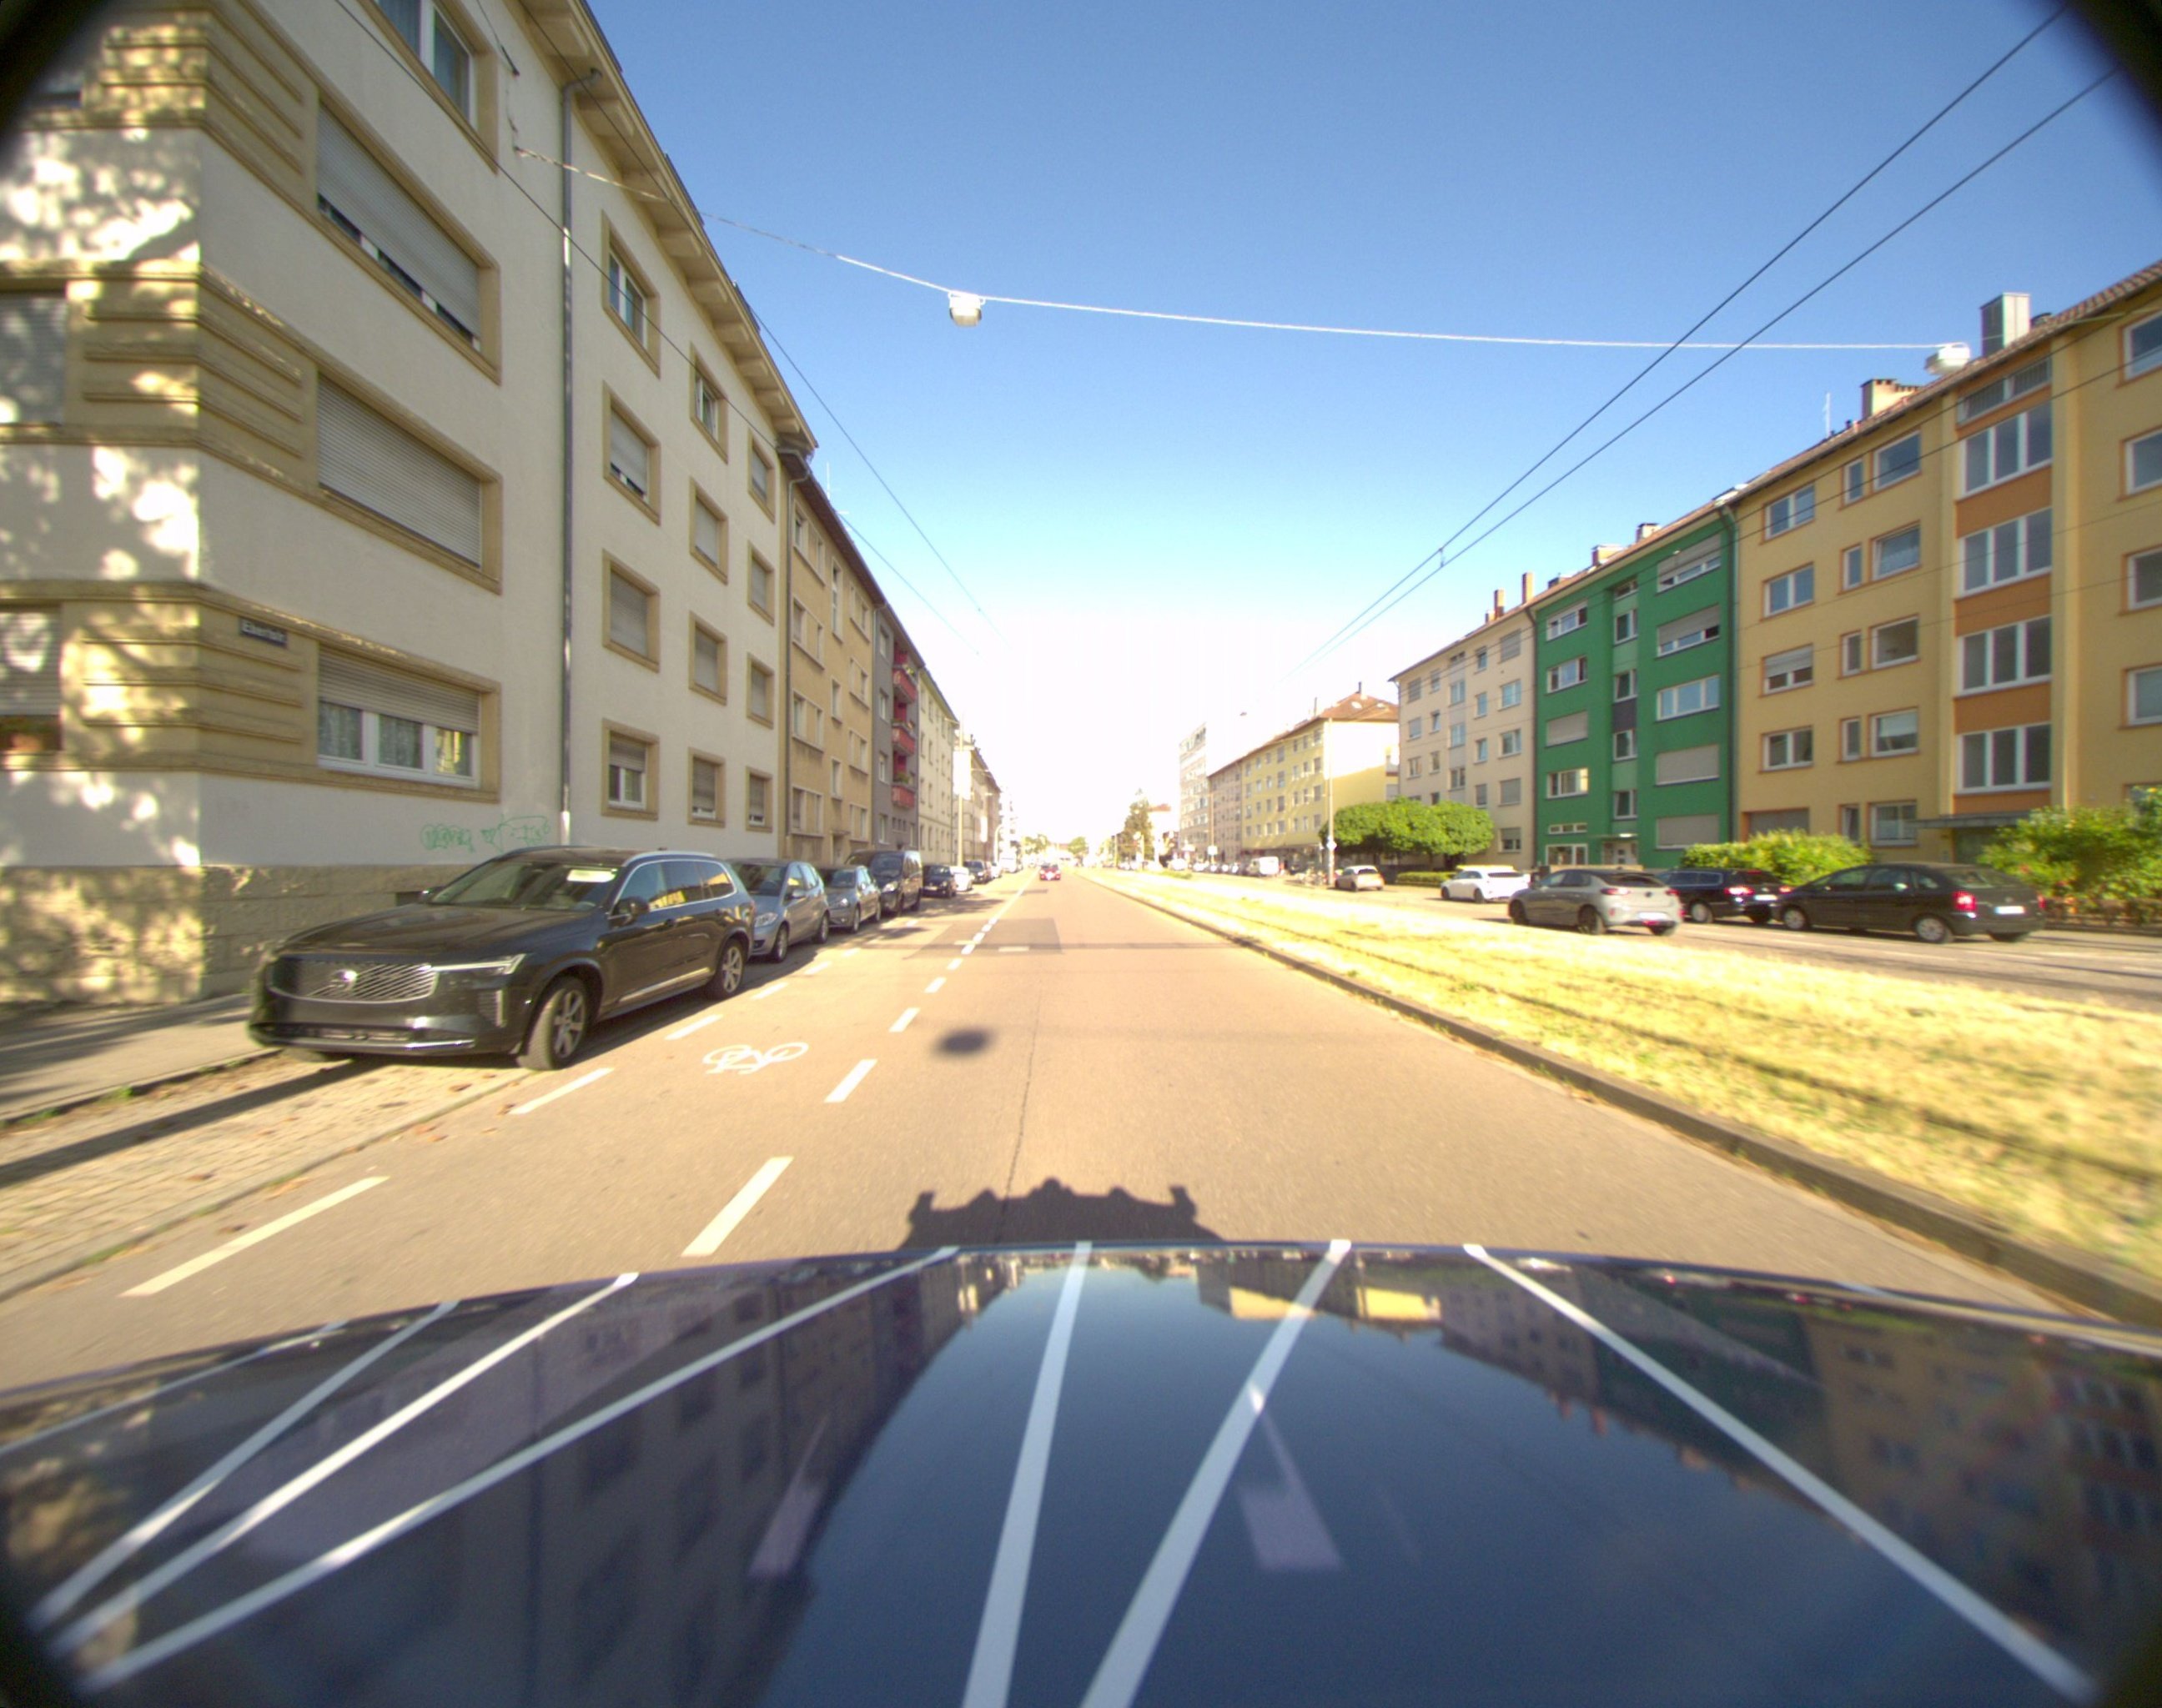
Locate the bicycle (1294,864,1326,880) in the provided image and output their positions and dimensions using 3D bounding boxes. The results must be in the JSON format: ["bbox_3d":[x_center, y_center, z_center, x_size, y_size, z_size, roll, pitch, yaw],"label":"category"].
[{"bbox_3d":[16.437,1.307,54.587,2.052,1.086,0.616,-2,0,3],"label":"bicycle"}]

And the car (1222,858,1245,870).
[{"bbox_3d":[18.504,1.251,92.369,1.788,1.377,3.767,-2,0,-3],"label":"car"}]

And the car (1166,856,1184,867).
[{"bbox_3d":[16.522,1.298,133.746,1.999,1.887,4.668,-2,0,-5],"label":"car"}]

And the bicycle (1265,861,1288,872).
[{"bbox_3d":[19.710,1.258,76.594,2.103,1.099,0.472,-2,0,-2],"label":"bicycle"}]

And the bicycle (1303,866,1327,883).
[{"bbox_3d":[15.602,1.380,50.713,0.511,1.086,1.934,-3,0,-14],"label":"bicycle"}]

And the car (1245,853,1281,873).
[{"bbox_3d":[19.303,0.973,80.825,1.999,1.938,5.498,-2,0,-6],"label":"car"}]

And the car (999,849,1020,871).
[{"bbox_3d":[-8.900,0.763,95.162,2.157,2.680,6.290,2,0,-3],"label":"car"}]

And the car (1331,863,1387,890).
[{"bbox_3d":[16.324,1.273,44.728,1.640,1.433,3.733,-2,0,-5],"label":"car"}]

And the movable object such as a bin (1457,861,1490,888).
[{"bbox_3d":[20.872,1.106,40.438,1.150,1.360,1.039,-2,0,0],"label":"movable object such as a bin"}]

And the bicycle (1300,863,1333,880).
[{"bbox_3d":[16.487,1.249,53.200,2.052,1.086,0.616,-2,0,3],"label":"bicycle"}]

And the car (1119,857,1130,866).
[{"bbox_3d":[8.120,1.356,142.282,1.618,1.549,3.999,2,-1,-3],"label":"car"}]

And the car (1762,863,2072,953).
[{"bbox_3d":[17.615,1.039,16.392,1.999,1.598,4.150,-2,0,-3],"label":"car"}]

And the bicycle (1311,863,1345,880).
[{"bbox_3d":[16.851,1.224,51.845,2.050,1.086,0.616,-3,0,24],"label":"bicycle"}]

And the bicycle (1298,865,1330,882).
[{"bbox_3d":[16.507,1.372,53.886,2.052,1.086,0.616,-2,0,3],"label":"bicycle"}]

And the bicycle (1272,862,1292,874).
[{"bbox_3d":[19.783,1.332,74.664,1.824,1.099,0.390,-2,0,-2],"label":"bicycle"}]

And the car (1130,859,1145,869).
[{"bbox_3d":[9.106,1.614,122.182,1.788,1.572,4.607,1,-1,-3],"label":"car"}]

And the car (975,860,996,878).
[{"bbox_3d":[-7.919,1.239,63.342,1.640,1.450,4.079,1,-1,-6],"label":"car"}]

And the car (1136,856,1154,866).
[{"bbox_3d":[9.645,1.099,114.776,1.789,1.519,4.412,1,-1,-8],"label":"car"}]

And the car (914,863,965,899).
[{"bbox_3d":[-6.286,1.145,34.035,1.640,1.445,3.788,2,0,-2],"label":"car"}]

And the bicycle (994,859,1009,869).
[{"bbox_3d":[-9.282,1.140,88.273,1.912,1.080,0.475,2,-2,41],"label":"bicycle"}]

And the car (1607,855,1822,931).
[{"bbox_3d":[17.423,0.988,21.265,1.999,1.827,4.608,-2,0,-3],"label":"car"}]

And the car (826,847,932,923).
[{"bbox_3d":[-5.838,0.838,22.643,1.918,1.888,5.134,3,0,-3],"label":"car"}]

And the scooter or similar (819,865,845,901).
[{"bbox_3d":[-9.103,1.045,27.837,0.460,1.231,1.338,4,0,-2],"label":"scooter or similar"}]

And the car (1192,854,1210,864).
[{"bbox_3d":[17.648,0.744,111.701,1.763,1.477,4.199,-2,0,-3],"label":"car"}]

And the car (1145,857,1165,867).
[{"bbox_3d":[10.527,1.183,108.517,1.839,1.376,4.412,1,-1,-9],"label":"car"}]

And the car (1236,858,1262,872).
[{"bbox_3d":[19.118,1.225,86.620,1.788,1.465,4.595,-2,0,-3],"label":"car"}]

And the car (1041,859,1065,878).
[{"bbox_3d":[-2.231,1.128,60.687,1.863,1.461,3.808,1,-1,-2],"label":"car"}]

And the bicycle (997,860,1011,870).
[{"bbox_3d":[-9.069,1.260,89.494,1.912,1.081,0.475,2,4,40],"label":"bicycle"}]

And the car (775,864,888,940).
[{"bbox_3d":[-5.602,1.003,17.569,1.515,1.469,4.236,1,0,-5],"label":"car"}]

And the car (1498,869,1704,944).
[{"bbox_3d":[11.524,1.090,17.259,1.699,1.439,4.216,1,-1,-2],"label":"car"}]

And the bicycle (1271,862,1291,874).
[{"bbox_3d":[19.762,1.353,75.083,1.824,1.099,0.390,-2,0,-2],"label":"bicycle"}]

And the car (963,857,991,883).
[{"bbox_3d":[-7.143,1.061,52.398,1.640,1.637,4.372,2,-1,-5],"label":"car"}]

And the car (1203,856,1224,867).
[{"bbox_3d":[17.935,1.025,103.117,1.788,1.377,4.413,-2,0,-5],"label":"car"}]

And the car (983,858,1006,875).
[{"bbox_3d":[-7.806,1.151,68.691,1.698,1.450,4.378,1,-1,-2],"label":"car"}]

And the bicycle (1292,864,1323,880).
[{"bbox_3d":[16.484,1.295,55.282,2.052,1.086,0.616,-2,0,3],"label":"bicycle"}]

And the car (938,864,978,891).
[{"bbox_3d":[-6.701,1.249,41.731,1.707,1.268,4.302,4,-1,-3],"label":"car"}]

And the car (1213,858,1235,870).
[{"bbox_3d":[18.380,1.280,97.757,1.788,1.412,4.414,-2,0,-3],"label":"car"}]

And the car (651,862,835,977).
[{"bbox_3d":[-5.419,0.960,12.739,1.598,1.569,3.894,2,0,-5],"label":"car"}]

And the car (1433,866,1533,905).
[{"bbox_3d":[16.749,1.256,31.924,1.733,1.446,4.375,-1,0,-2],"label":"car"}]

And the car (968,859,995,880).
[{"bbox_3d":[-7.545,1.133,57.953,1.640,1.508,4.188,1,-1,-2],"label":"car"}]

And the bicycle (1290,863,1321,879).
[{"bbox_3d":[16.503,1.271,55.949,2.052,1.086,0.616,-2,0,3],"label":"bicycle"}]

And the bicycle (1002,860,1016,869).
[{"bbox_3d":[-8.586,1.259,90.280,2.023,1.080,0.487,-3,0,45],"label":"bicycle"}]

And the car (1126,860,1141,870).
[{"bbox_3d":[8.997,1.852,129.777,1.862,1.541,4.239,2,-1,-5],"label":"car"}]

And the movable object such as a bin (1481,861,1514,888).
[{"bbox_3d":[22.171,1.071,40.450,1.150,1.360,1.039,-2,0,0],"label":"movable object such as a bin"}]

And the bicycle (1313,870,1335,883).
[{"bbox_3d":[16.240,1.497,50.872,0.377,0.860,2.052,-3,0,-14],"label":"bicycle"}]

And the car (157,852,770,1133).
[{"bbox_3d":[-4.931,0.907,7.308,1.884,1.706,4.933,3,0,-2],"label":"car"}]
